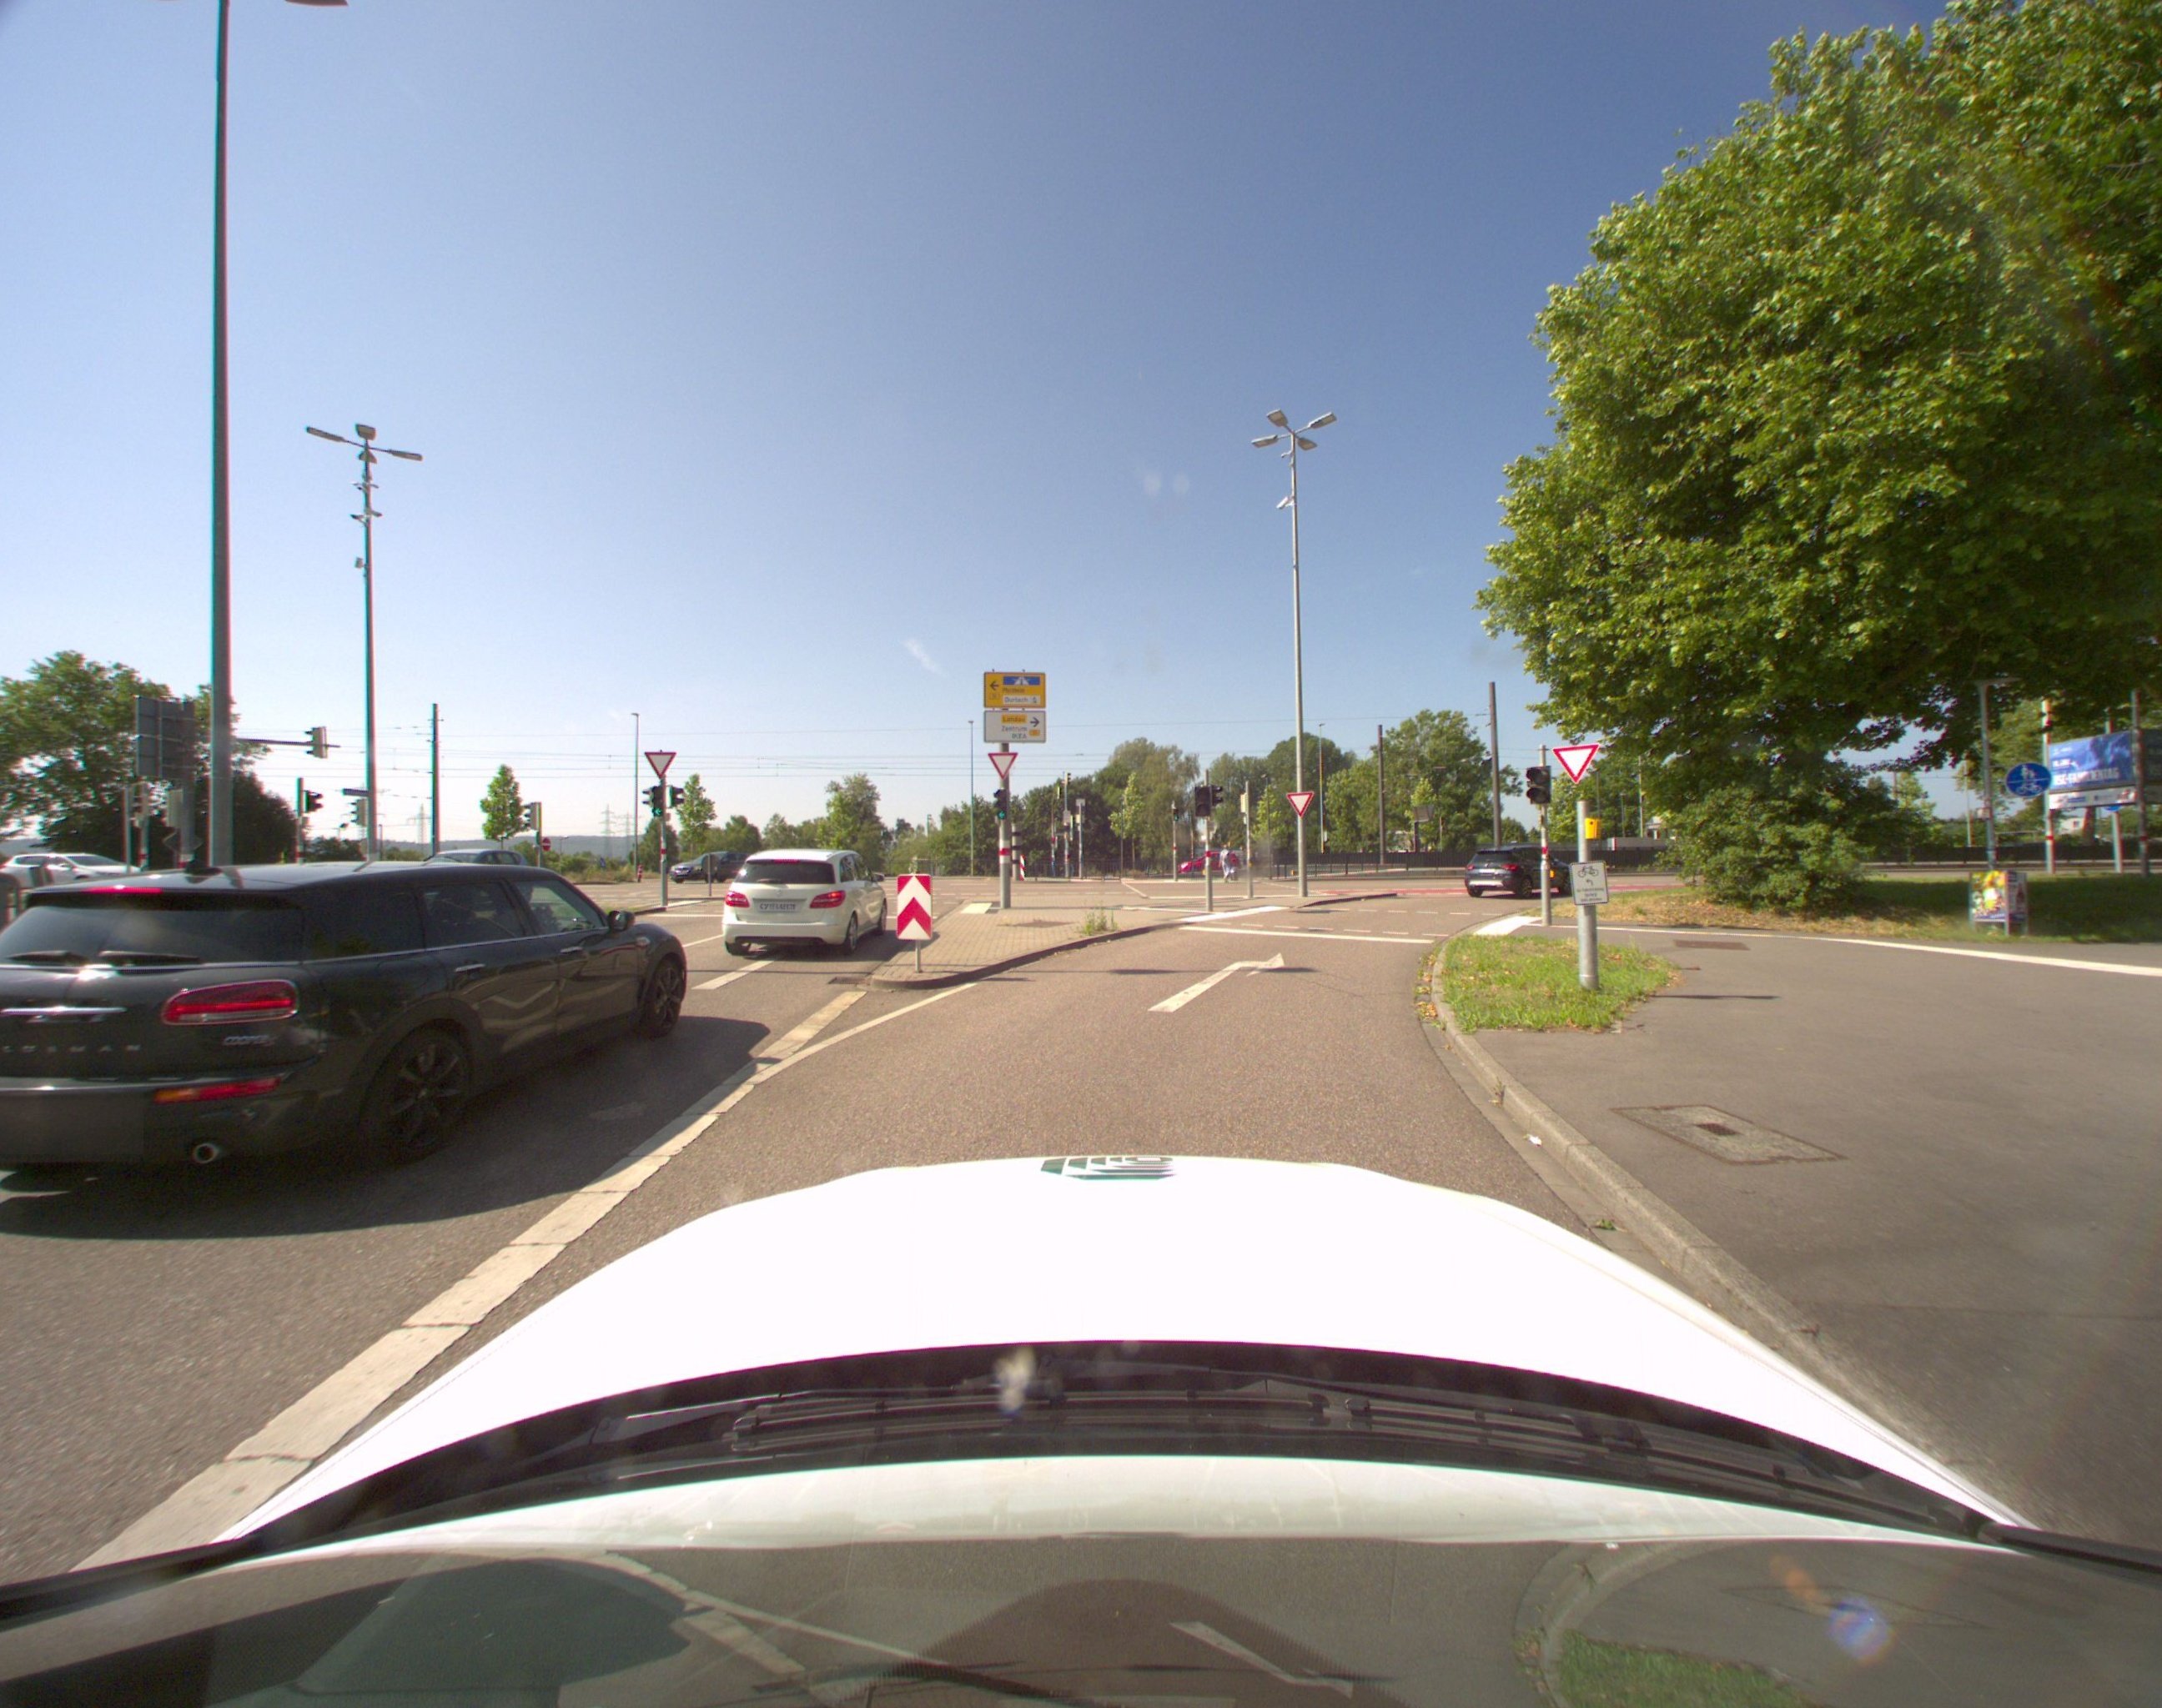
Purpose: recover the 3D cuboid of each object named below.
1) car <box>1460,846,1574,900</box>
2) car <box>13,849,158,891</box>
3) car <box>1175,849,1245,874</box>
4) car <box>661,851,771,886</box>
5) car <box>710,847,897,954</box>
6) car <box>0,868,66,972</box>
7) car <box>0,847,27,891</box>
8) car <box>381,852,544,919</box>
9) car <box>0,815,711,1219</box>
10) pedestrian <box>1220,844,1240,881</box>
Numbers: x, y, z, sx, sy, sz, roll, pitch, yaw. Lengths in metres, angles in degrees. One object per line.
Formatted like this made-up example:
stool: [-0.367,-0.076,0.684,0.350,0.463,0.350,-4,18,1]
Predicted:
car: [13.175,0.556,24.589,3.390,1.523,1.658,0,-1,-34]
car: [-37.511,0.591,30.750,3.341,1.500,1.406,-1,-2,-8]
car: [7.992,0.447,50.700,3.982,1.445,1.743,-1,0,-6]
car: [-17.073,0.636,38.356,2.043,1.503,4.835,-1,0,16]
car: [-4.242,0.626,13.207,1.738,1.448,4.383,0,0,-3]
car: [-11.080,0.661,7.196,1.114,1.004,2.490,-1,0,-2]
car: [-38.199,0.528,27.369,3.381,1.500,1.406,-1,-2,-6]
car: [-16.953,0.786,22.575,1.623,1.624,3.913,-1,1,-3]
car: [-4.109,0.628,5.194,1.734,1.511,4.195,-1,0,-3]
pedestrian: [6.257,0.339,34.313,0.768,1.510,1.010,-1,1,8]
